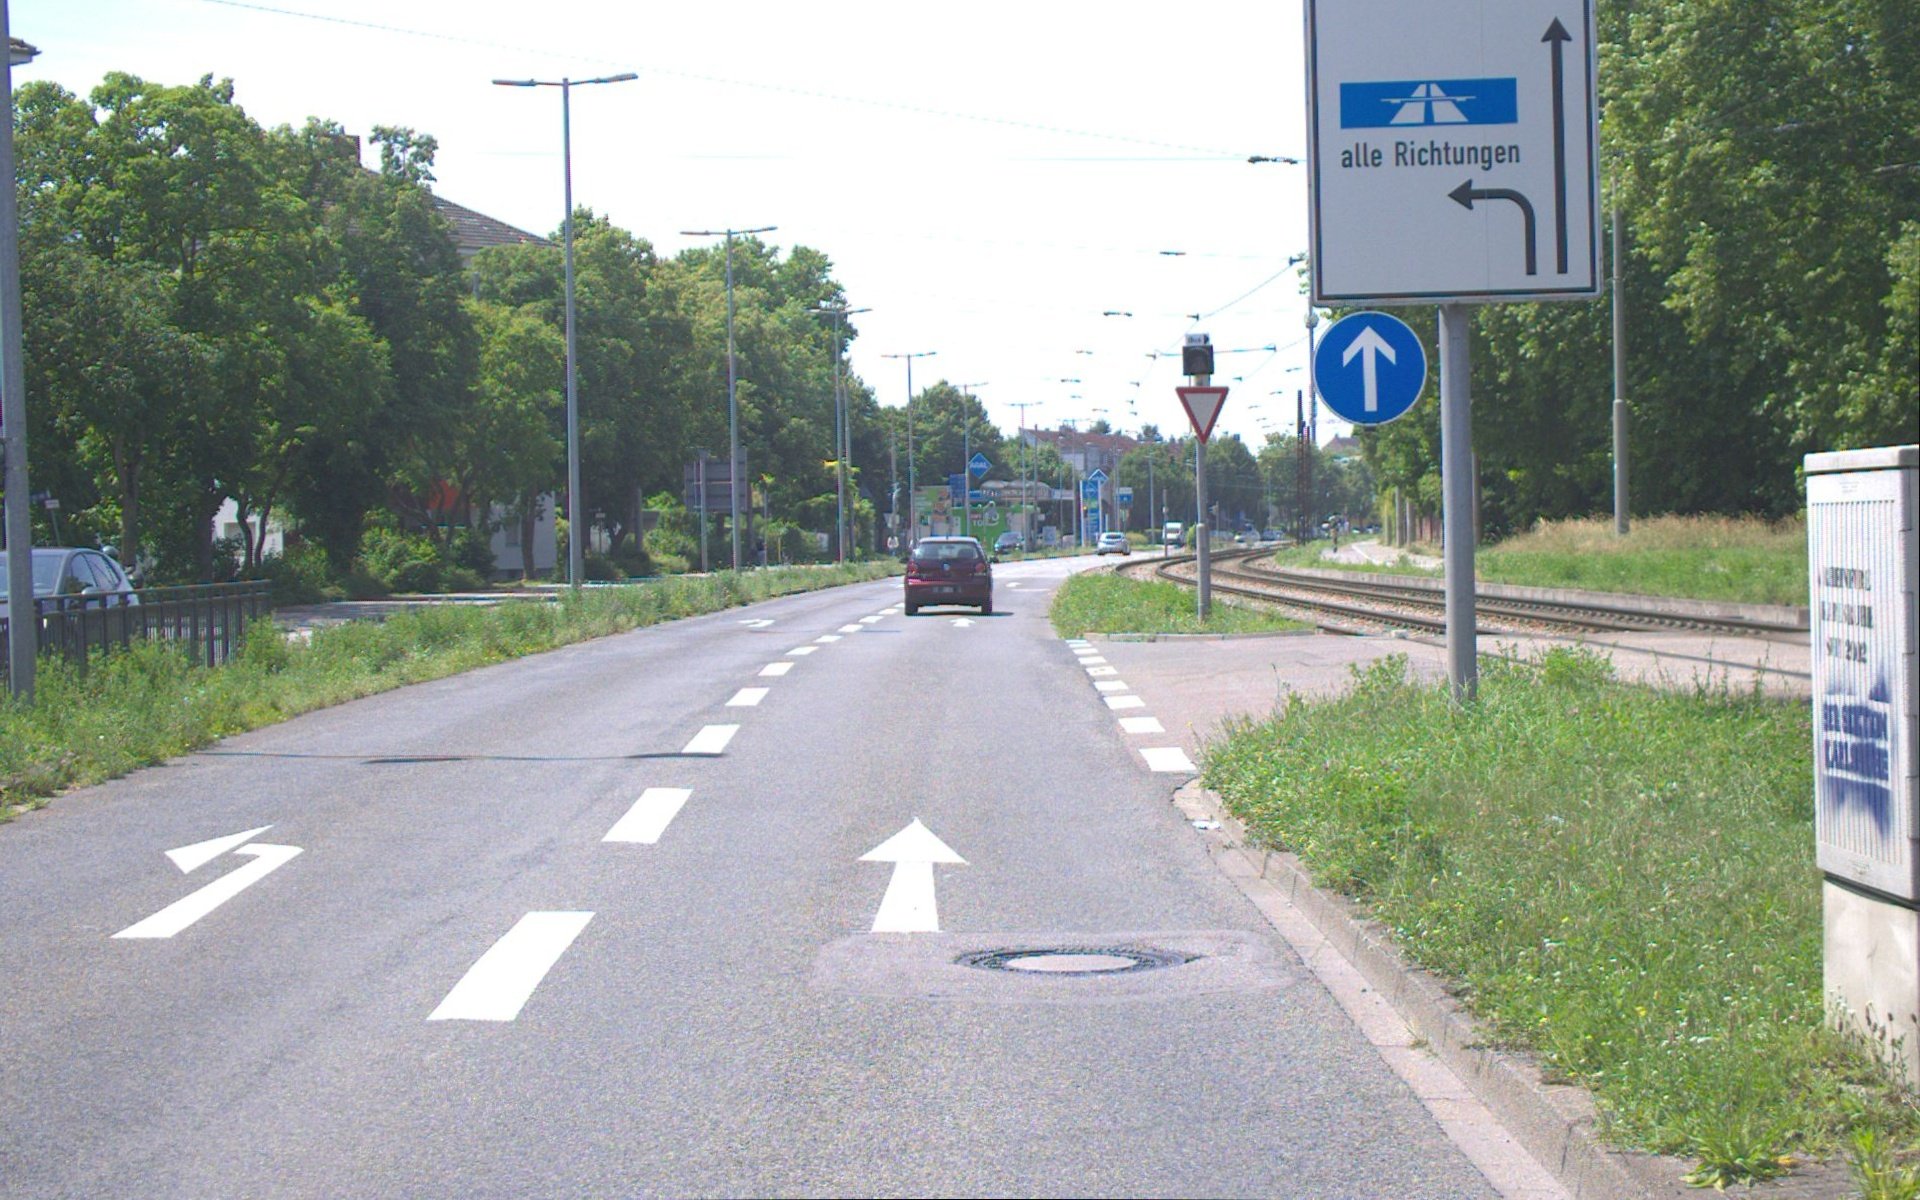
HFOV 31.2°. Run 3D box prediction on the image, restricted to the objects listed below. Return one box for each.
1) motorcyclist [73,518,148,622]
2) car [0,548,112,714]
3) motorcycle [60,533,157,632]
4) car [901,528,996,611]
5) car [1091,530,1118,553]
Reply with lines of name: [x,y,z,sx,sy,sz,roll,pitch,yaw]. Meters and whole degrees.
motorcyclist: [-11.730,-0.425,47.499,0.736,1.398,1.513,-2,1,-5]
car: [-9.933,0.291,34.815,1.756,1.538,4.161,-2,1,-2]
motorcycle: [-11.756,-0.261,47.536,0.805,1.294,2.395,-2,1,-3]
car: [-0.193,-0.602,65.126,1.703,1.472,3.716,-2,1,1]
car: [9.183,-3.707,219.188,1.703,1.475,3.716,0,1,2]
